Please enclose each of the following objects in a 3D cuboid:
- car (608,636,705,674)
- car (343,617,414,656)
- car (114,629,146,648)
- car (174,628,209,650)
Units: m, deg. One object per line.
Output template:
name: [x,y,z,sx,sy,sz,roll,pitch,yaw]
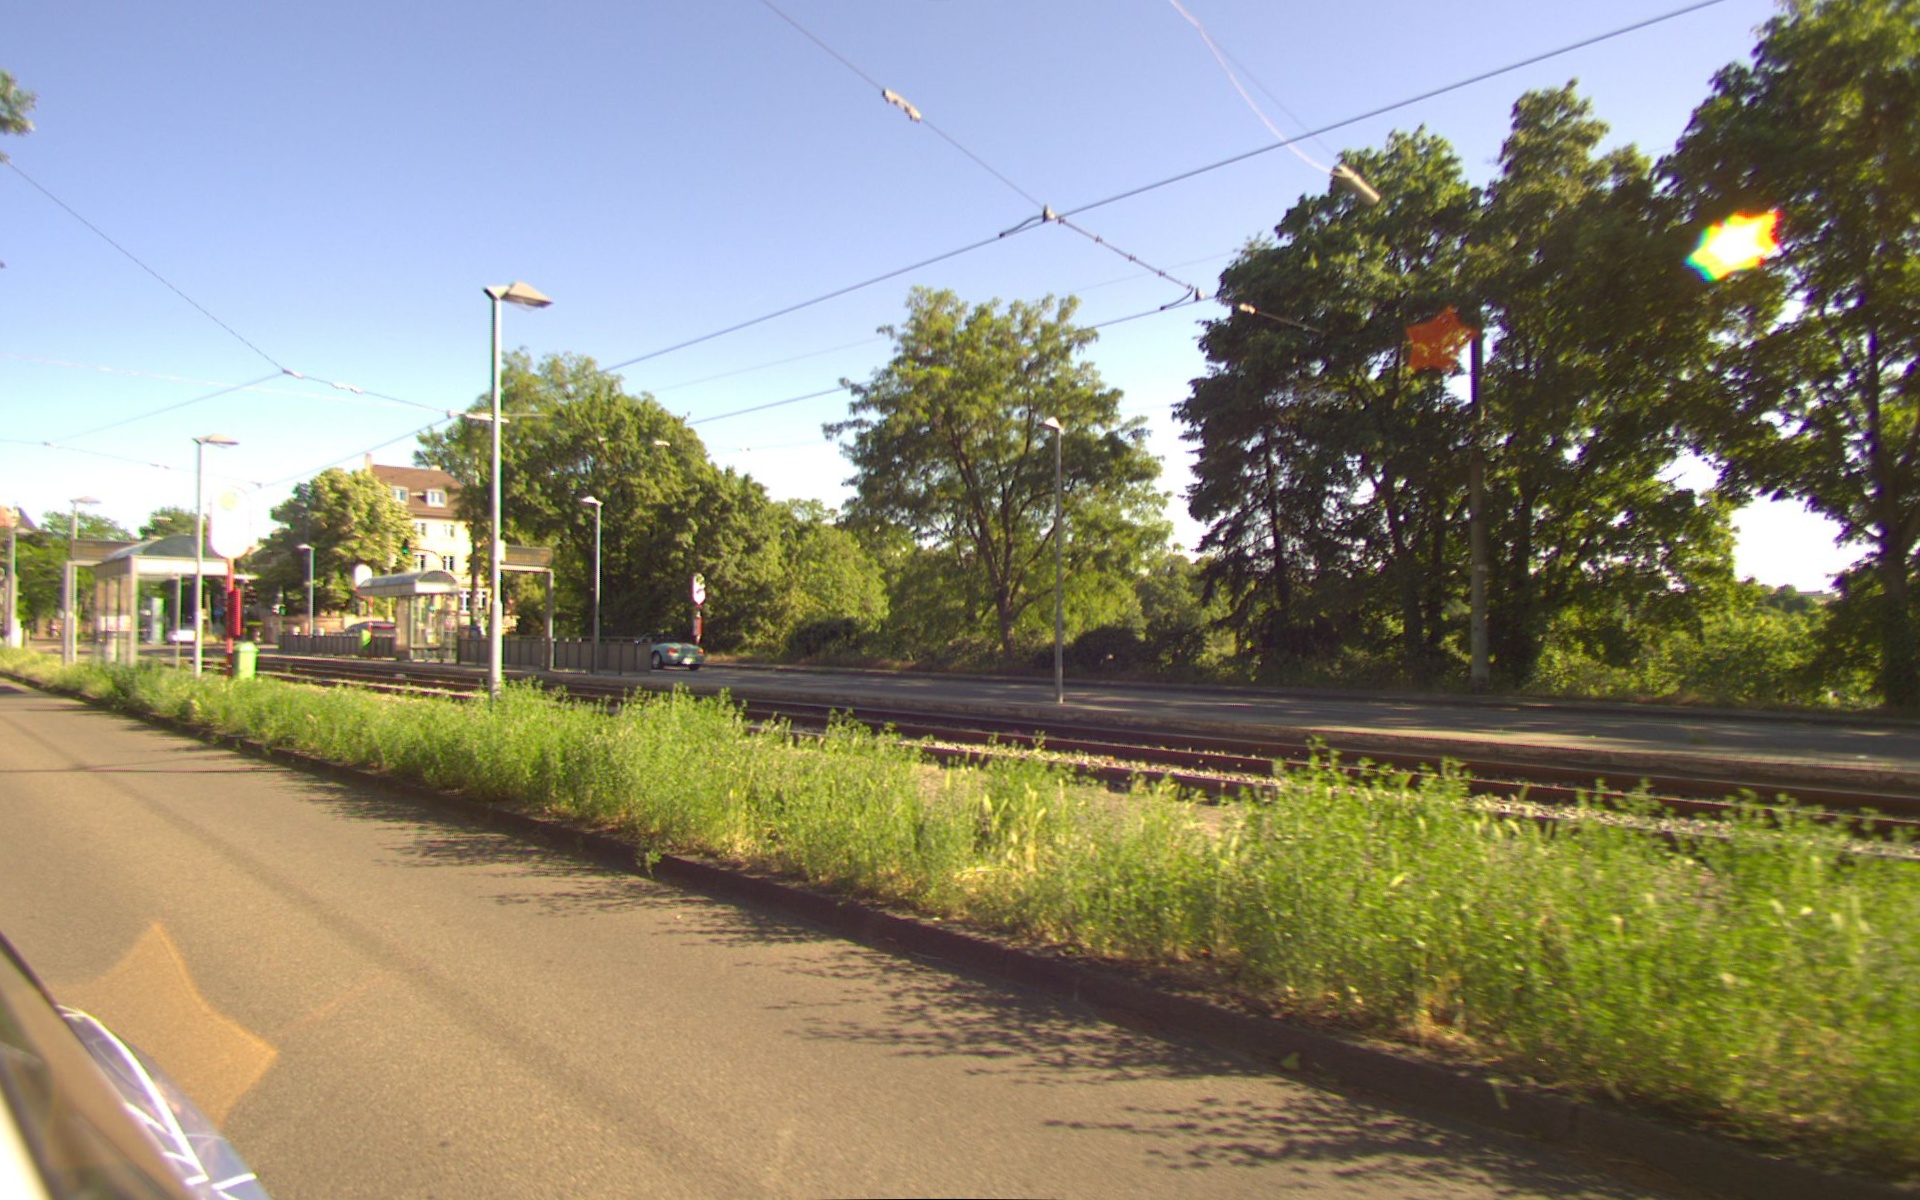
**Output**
car: [-10.350,1.848,34.444,3.675,1.126,1.473,-1,0,42]
car: [-24.957,1.545,43.372,3.673,1.569,1.592,-1,0,42]
car: [-68.970,3.190,84.075,1.827,1.497,3.550,-1,0,-44]
car: [-53.010,2.650,69.768,1.825,1.389,3.446,-1,0,-39]
